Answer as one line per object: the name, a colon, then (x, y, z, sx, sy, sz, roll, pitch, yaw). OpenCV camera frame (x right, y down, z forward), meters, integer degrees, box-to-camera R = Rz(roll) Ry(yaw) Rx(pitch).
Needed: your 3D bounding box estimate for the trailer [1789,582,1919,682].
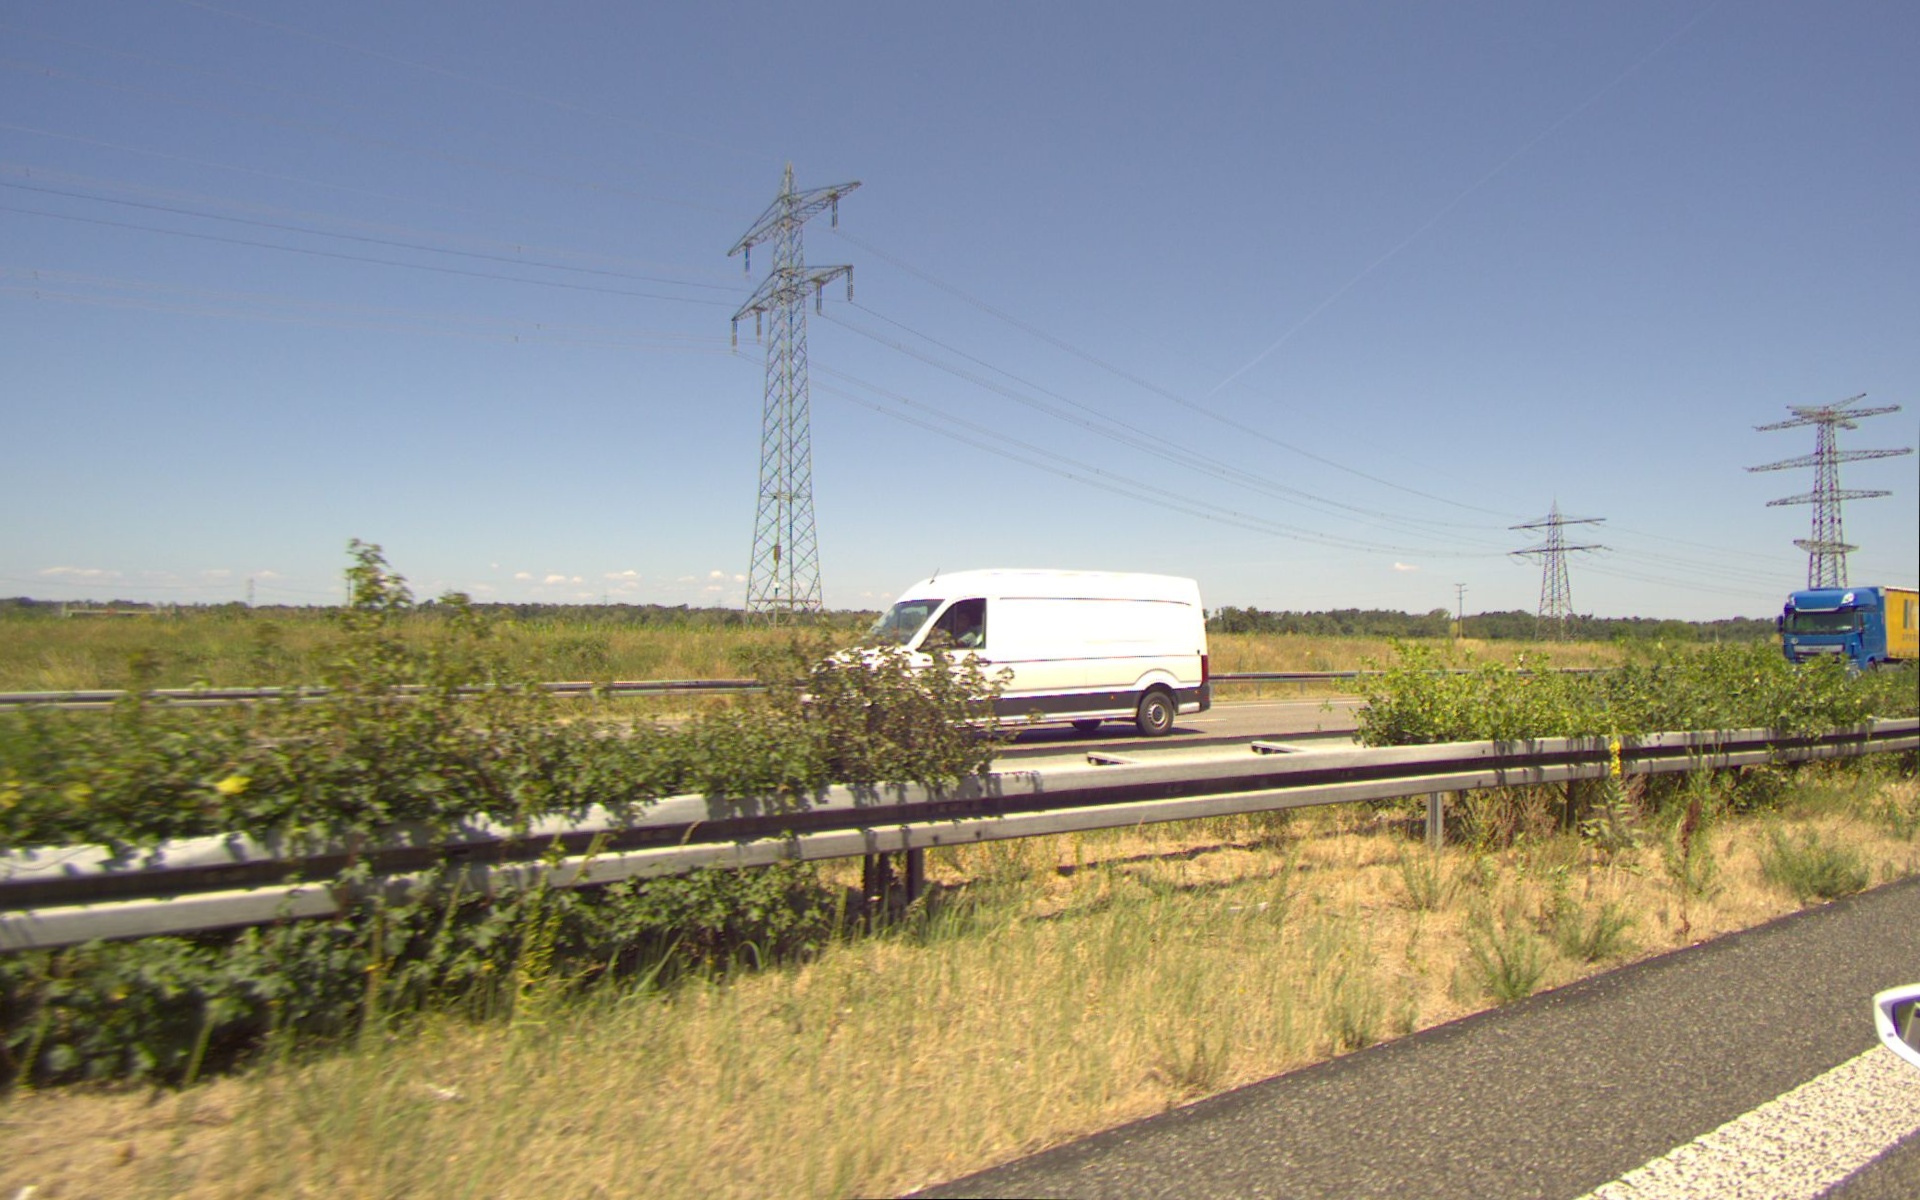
trailer: (41.909, 1.488, 44.992, 13.980, 4.030, 2.836, 2, -2, -31)

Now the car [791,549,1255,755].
car: (1.207, 0.815, 15.792, 7.380, 2.665, 2.096, 2, -4, -30)

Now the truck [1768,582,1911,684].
truck: (36.500, 1.392, 41.680, 5.555, 3.959, 2.850, 2, -2, -31)
